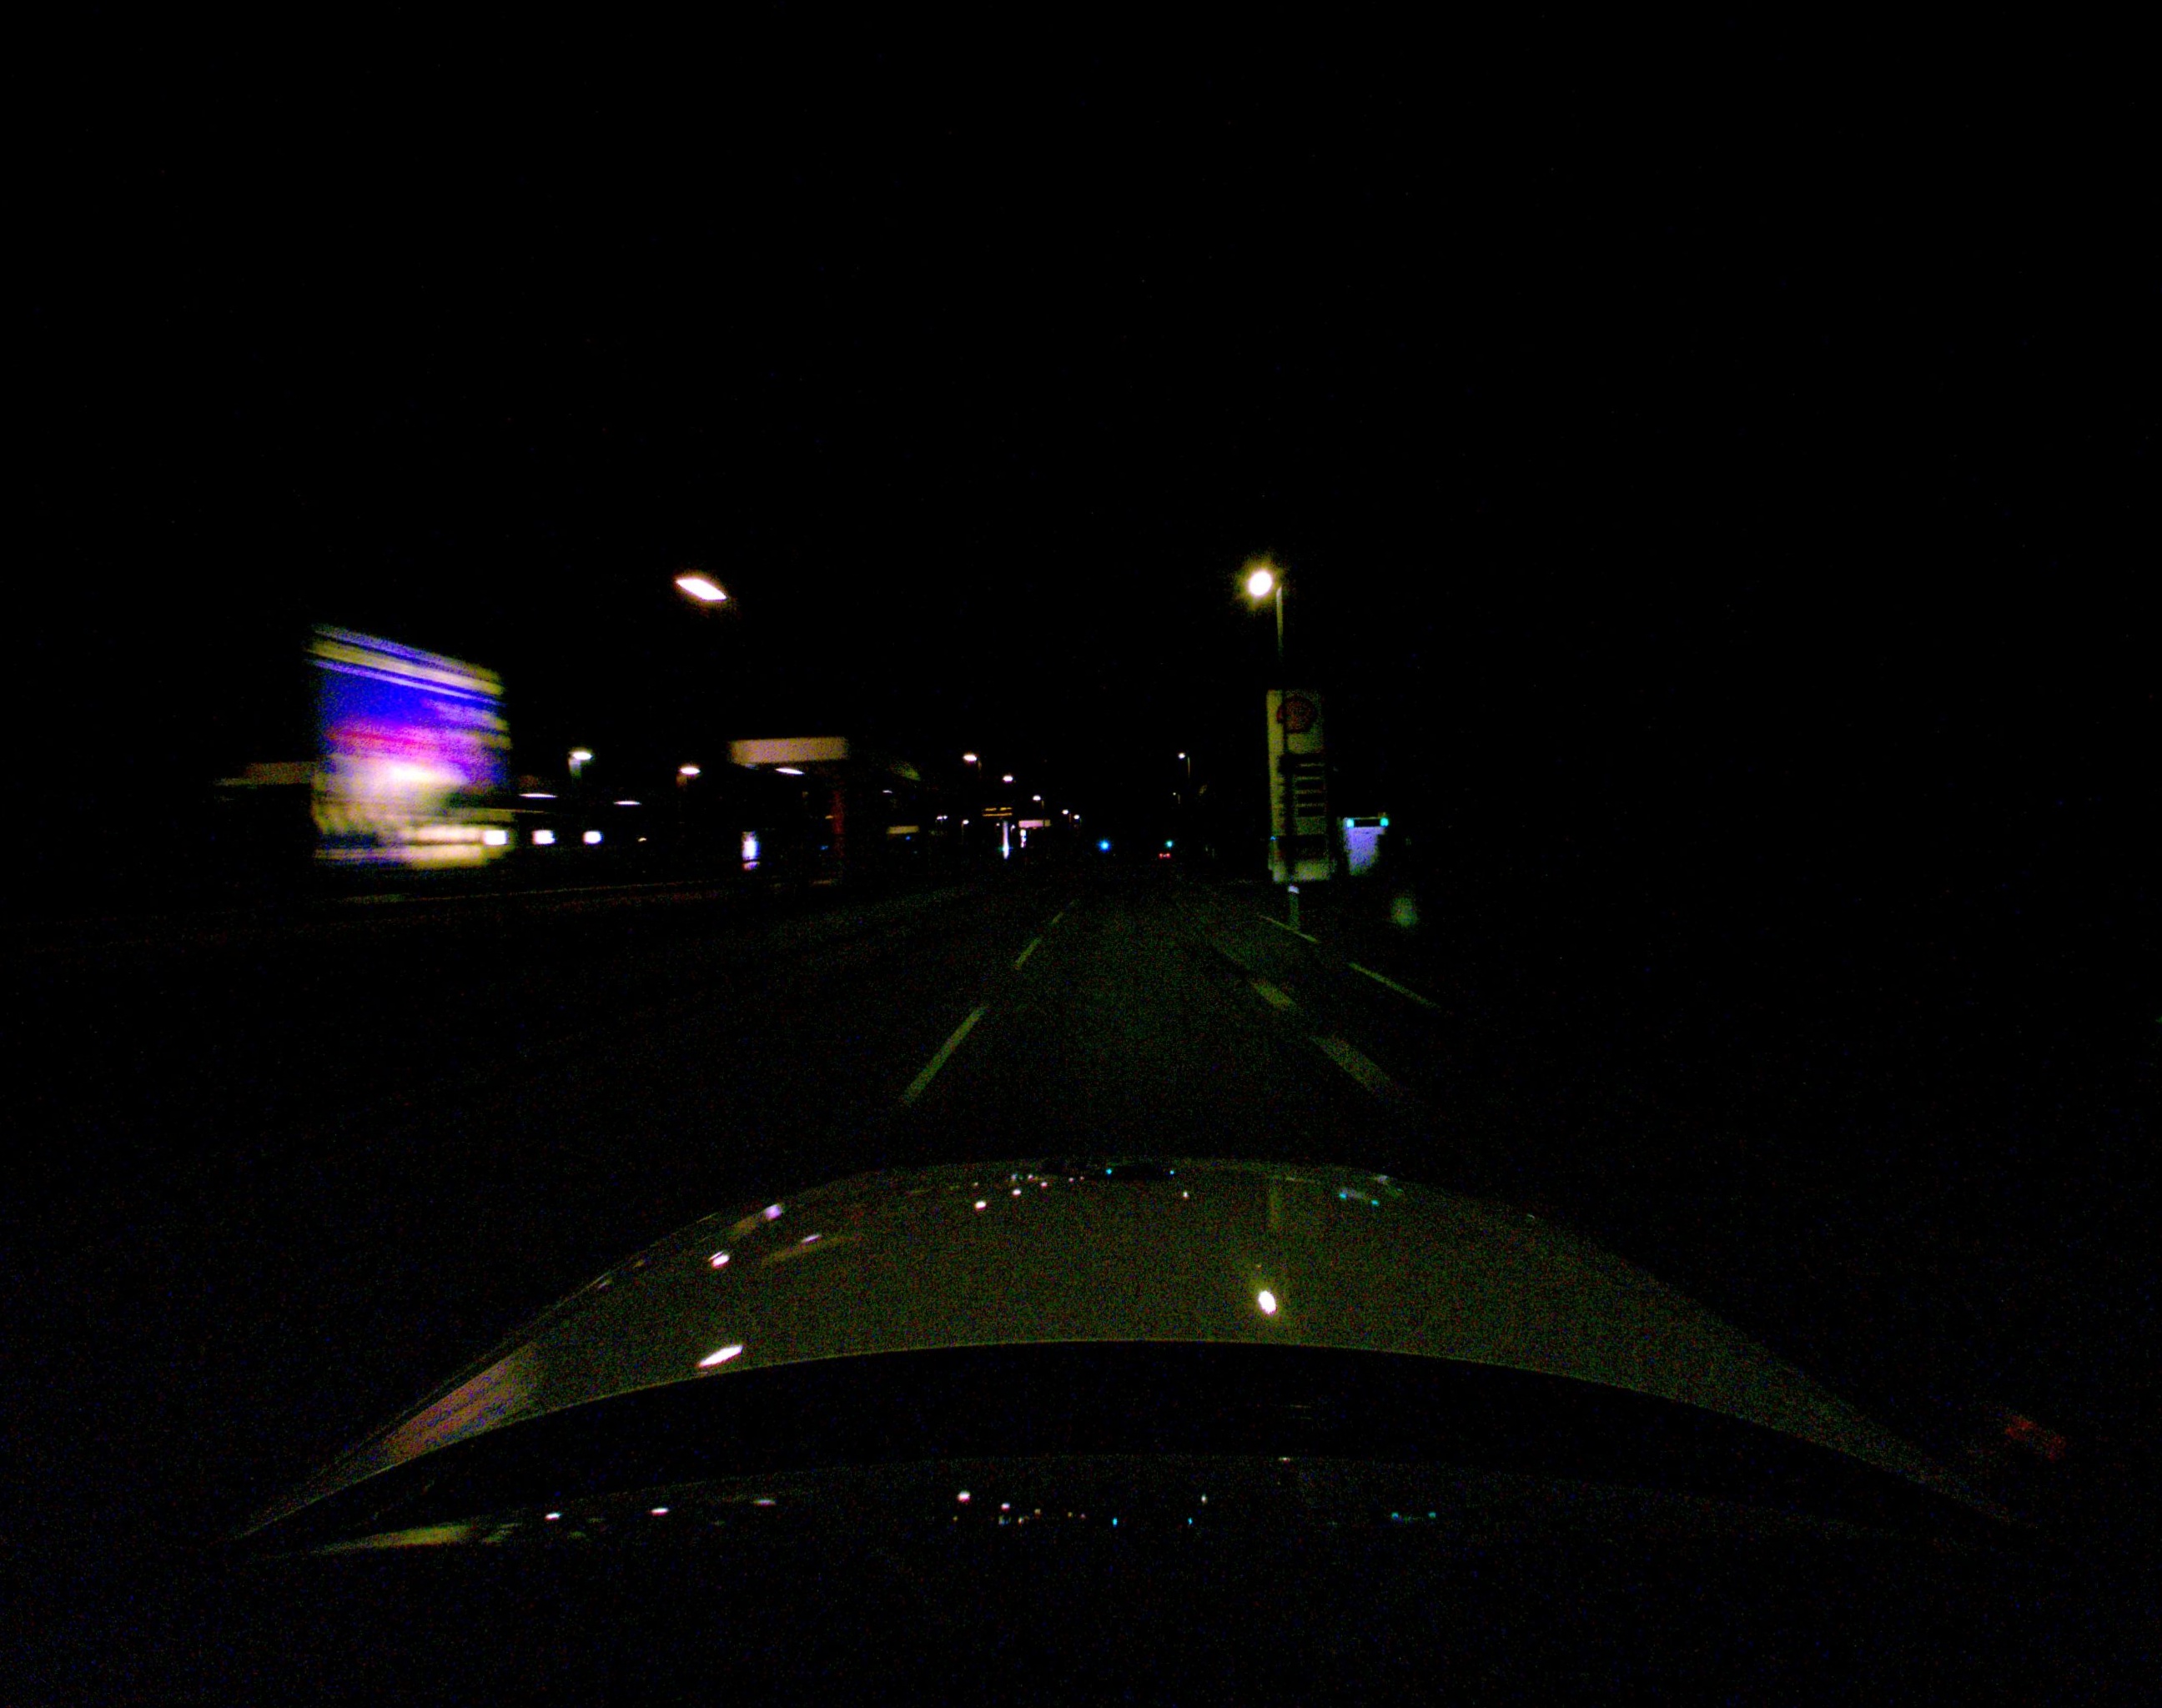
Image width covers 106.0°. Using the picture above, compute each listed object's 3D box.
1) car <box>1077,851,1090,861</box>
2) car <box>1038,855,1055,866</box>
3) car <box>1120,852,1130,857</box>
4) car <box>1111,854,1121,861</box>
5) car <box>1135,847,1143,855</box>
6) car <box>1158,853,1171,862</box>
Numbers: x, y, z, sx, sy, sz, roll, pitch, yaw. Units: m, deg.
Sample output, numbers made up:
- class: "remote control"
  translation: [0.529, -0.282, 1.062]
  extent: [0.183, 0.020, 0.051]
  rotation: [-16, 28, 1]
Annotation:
- class: "car"
  translation: [0.455, 0.335, 153.601]
  extent: [1.847, 1.904, 4.890]
  rotation: [-2, 0, 7]
- class: "car"
  translation: [-5.090, 0.911, 120.474]
  extent: [1.636, 1.339, 4.554]
  rotation: [-6, 0, 9]
- class: "car"
  translation: [11.930, 0.137, 220.885]
  extent: [1.982, 1.338, 5.446]
  rotation: [-2, 0, 9]
- class: "car"
  translation: [8.677, 0.960, 201.413]
  extent: [1.982, 1.628, 4.689]
  rotation: [-2, 0, 9]
- class: "car"
  translation: [17.818, -0.888, 250.906]
  extent: [2.079, 2.013, 4.011]
  rotation: [-6, 0, 9]
- class: "car"
  translation: [15.411, 0.554, 150.502]
  extent: [2.150, 1.583, 4.021]
  rotation: [-1, 0, 7]
